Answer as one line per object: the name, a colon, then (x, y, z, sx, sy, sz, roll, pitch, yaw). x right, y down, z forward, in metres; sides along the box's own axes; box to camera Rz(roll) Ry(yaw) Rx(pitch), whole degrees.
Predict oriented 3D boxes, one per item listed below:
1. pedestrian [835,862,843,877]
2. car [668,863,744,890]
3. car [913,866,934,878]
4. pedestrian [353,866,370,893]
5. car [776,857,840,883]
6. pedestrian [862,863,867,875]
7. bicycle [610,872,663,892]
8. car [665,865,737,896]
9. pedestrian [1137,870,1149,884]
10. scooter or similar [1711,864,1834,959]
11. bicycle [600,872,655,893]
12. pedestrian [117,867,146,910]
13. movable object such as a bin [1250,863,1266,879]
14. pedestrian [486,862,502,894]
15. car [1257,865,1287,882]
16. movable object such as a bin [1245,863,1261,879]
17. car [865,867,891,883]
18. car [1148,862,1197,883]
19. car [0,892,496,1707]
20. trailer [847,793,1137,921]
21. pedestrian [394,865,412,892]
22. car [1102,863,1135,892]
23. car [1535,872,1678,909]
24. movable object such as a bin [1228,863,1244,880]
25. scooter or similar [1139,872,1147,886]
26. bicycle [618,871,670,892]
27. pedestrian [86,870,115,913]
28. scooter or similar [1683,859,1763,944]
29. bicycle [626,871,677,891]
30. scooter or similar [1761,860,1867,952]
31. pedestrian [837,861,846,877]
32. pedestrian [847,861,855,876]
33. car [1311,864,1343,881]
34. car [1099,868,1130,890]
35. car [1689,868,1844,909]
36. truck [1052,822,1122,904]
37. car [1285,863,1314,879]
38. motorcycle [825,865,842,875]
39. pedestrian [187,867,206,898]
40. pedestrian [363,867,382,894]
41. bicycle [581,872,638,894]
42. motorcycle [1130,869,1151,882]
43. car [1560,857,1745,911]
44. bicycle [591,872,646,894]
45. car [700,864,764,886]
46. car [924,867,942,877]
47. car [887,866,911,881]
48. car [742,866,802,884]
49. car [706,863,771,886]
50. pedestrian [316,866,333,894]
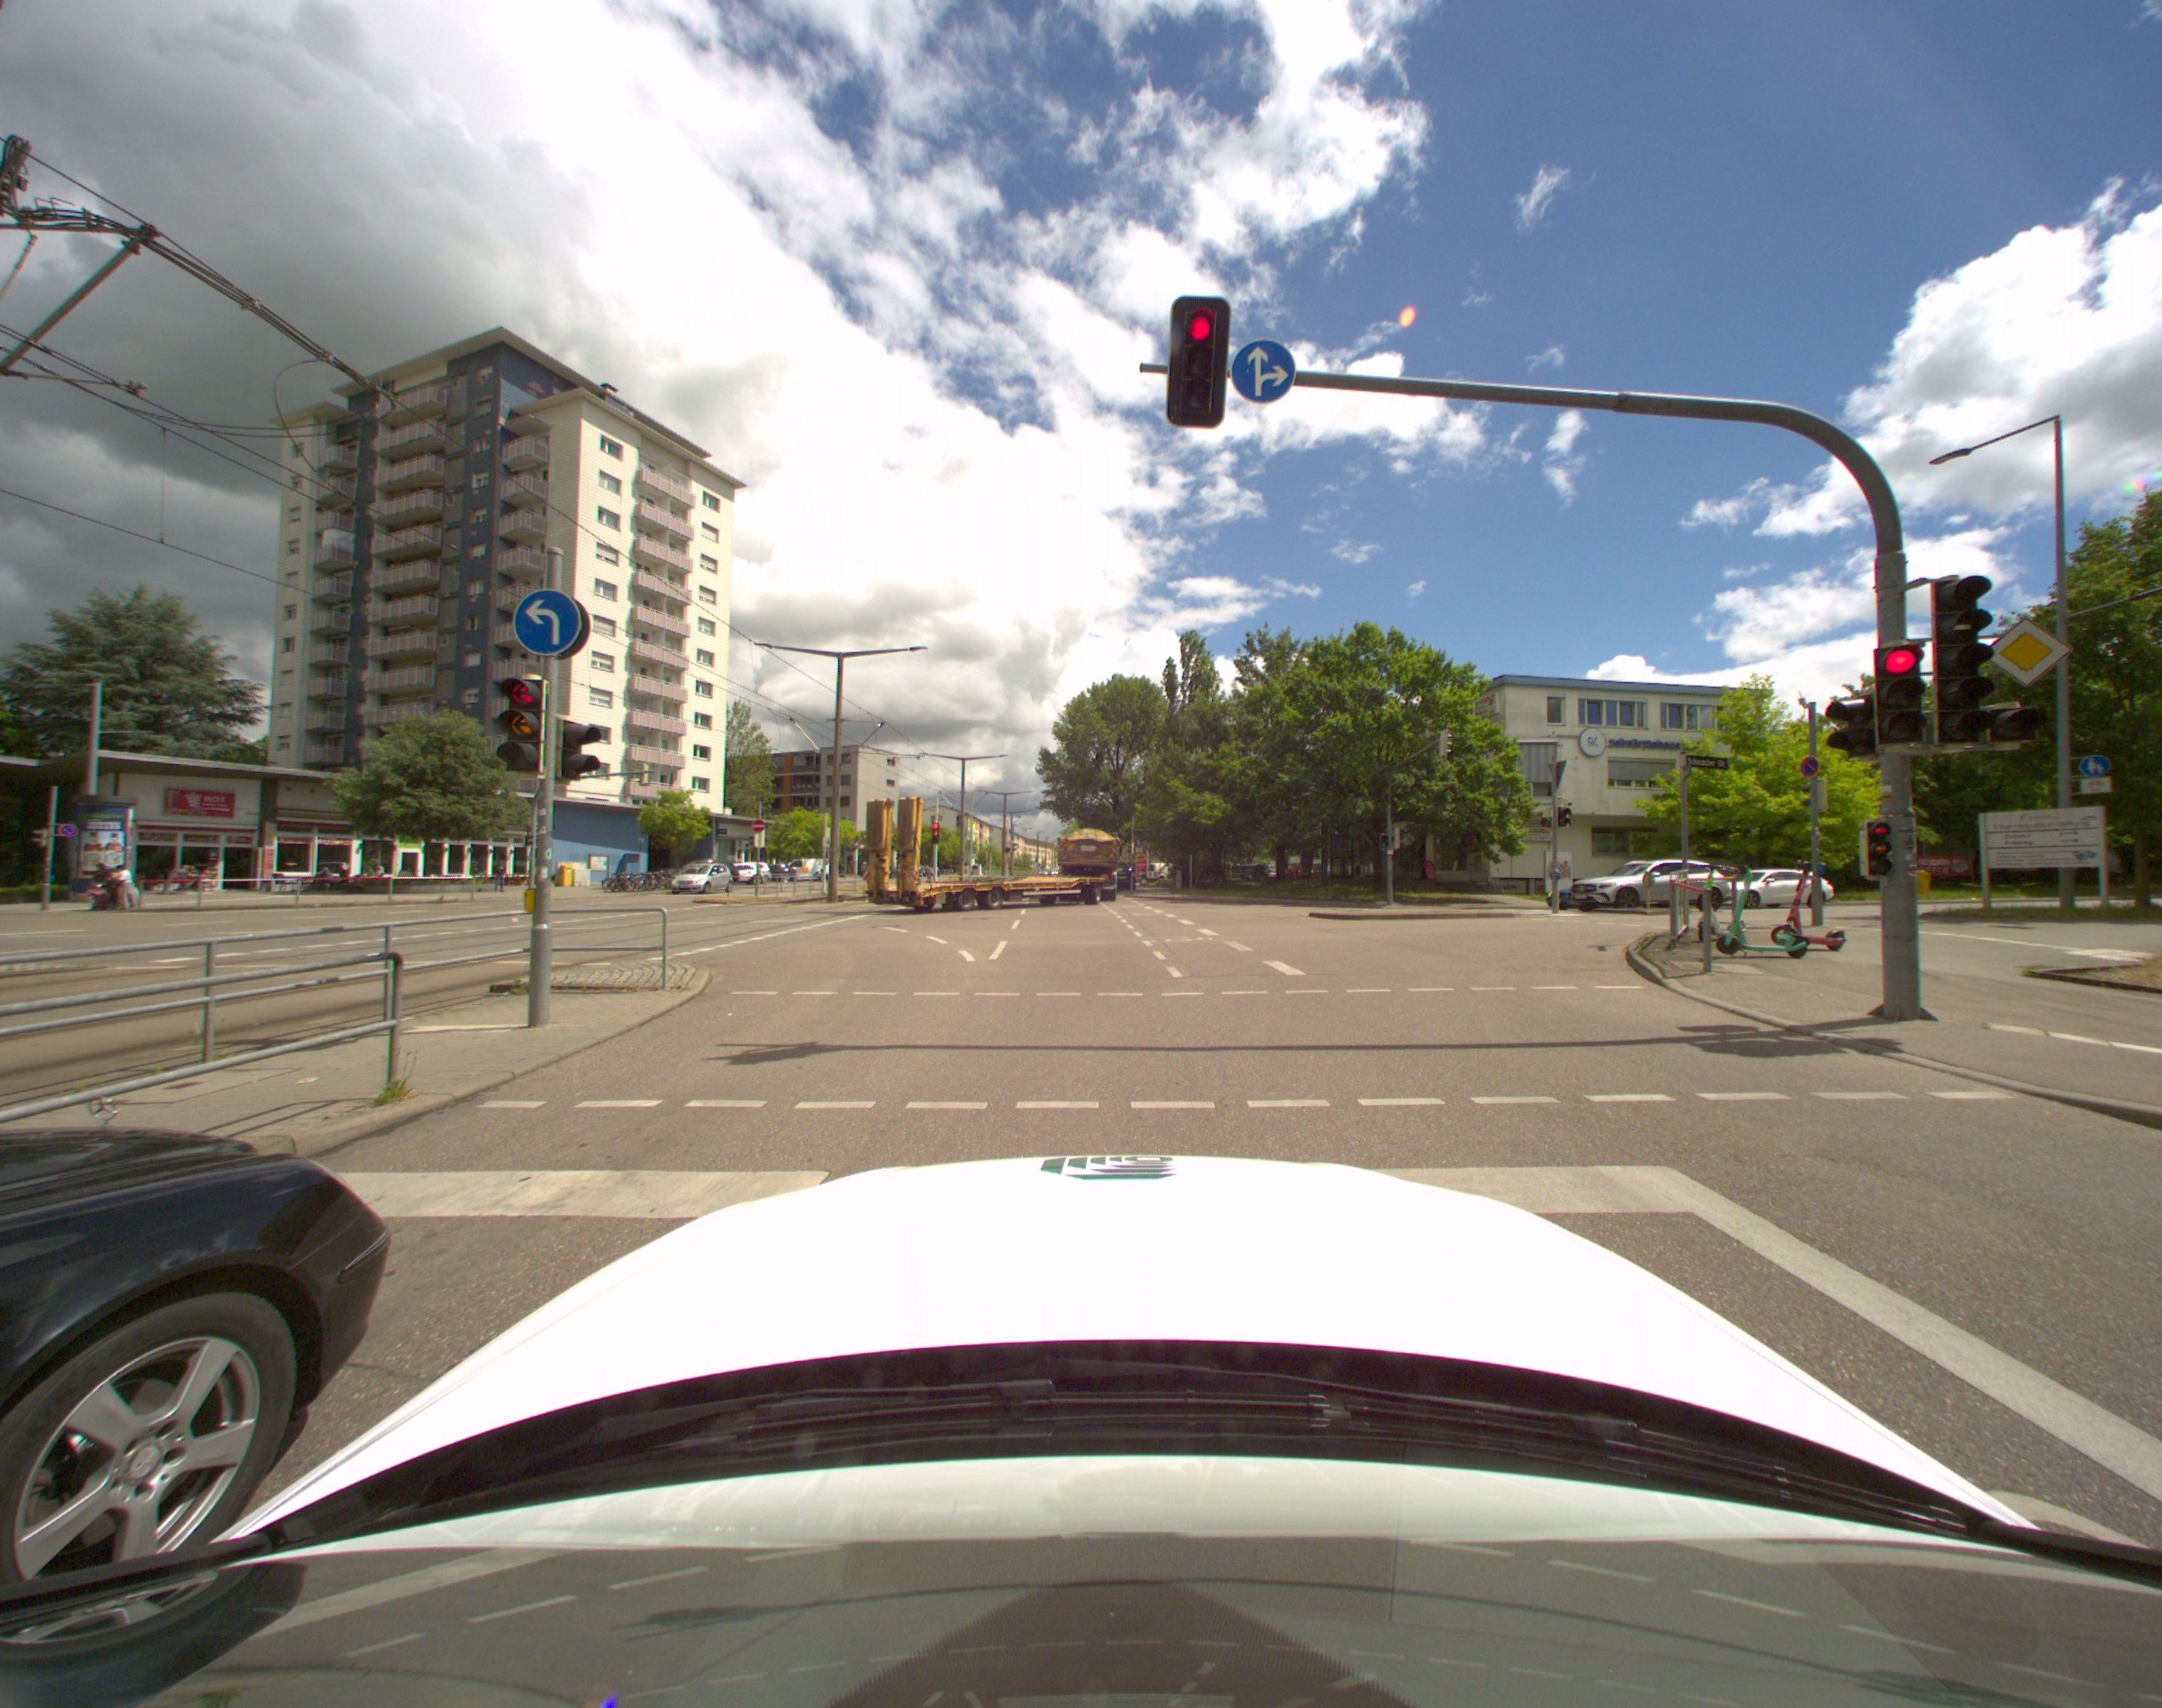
pedestrian: (-25.734, 1.597, 86.576, 0.667, 1.574, 0.682, 0, -1, -28)
car: (-24.016, 1.410, 52.217, 1.908, 1.591, 4.024, -1, -1, 43)
car: (-21.419, 2.424, 110.815, 1.986, 1.648, 4.102, 0, -1, 2)
pedestrian: (-39.807, 1.402, 45.052, 0.565, 1.472, 0.529, -1, -1, 29)
car: (-22.959, 1.320, 68.596, 4.788, 2.157, 1.883, 0, -1, -42)
pedestrian: (-26.010, 1.770, 97.820, 0.500, 1.460, 0.555, 0, -1, -28)
bicycle: (-23.508, 1.479, 43.103, 2.419, 1.066, 0.705, 0, -1, 0)
car: (-19.749, 1.341, 42.502, 1.810, 1.533, 3.758, 0, -1, 4)
pedestrian: (4.737, 1.750, 62.161, 0.775, 1.055, 0.546, 0, -1, -7)
scooter or similar: (8.887, 0.726, 10.492, 1.162, 1.195, 0.449, 0, -1, 5)
bicycle: (-23.506, 1.472, 42.222, 2.419, 1.066, 0.705, 0, -1, 0)
pedestrian: (-33.284, 1.201, 28.549, 0.512, 1.472, 0.529, -1, -1, 26)
movable object such as a bin: (16.011, 1.550, 73.703, 1.113, 1.430, 1.284, 0, -1, -4)
pedestrian: (-29.977, 1.212, 41.580, 0.415, 1.643, 0.600, 0, -1, -2)
car: (17.833, 1.778, 76.277, 1.933, 1.490, 4.001, 0, 0, 1)
movable object such as a bin: (15.905, 1.555, 75.295, 1.113, 1.430, 1.284, 0, -1, -4)
car: (-21.988, 2.279, 88.305, 1.989, 1.663, 4.095, 1, 0, -3)
car: (8.169, 1.602, 72.733, 4.005, 1.823, 1.796, 0, -1, -24)
car: (-2.856, 0.802, 0.143, 1.963, 1.398, 4.678, 0, 0, 3)
trailer: (-2.580, 0.108, 29.401, 3.021, 3.773, 11.685, -1, -1, 39)
pedestrian: (-37.955, 1.371, 45.607, 0.522, 1.472, 0.573, 0, -1, 3)
car: (2.352, 1.452, 52.131, 1.640, 1.762, 4.564, 0, -1, -3)
car: (18.740, 1.314, 29.146, 3.955, 1.225, 1.908, 0, -3, -7)
movable object such as a bin: (13.884, 1.551, 72.844, 1.113, 1.430, 1.284, 0, -1, -4)
scooter or similar: (4.748, 1.878, 62.170, 0.476, 1.055, 0.895, 0, -1, -7)
bicycle: (-23.515, 1.485, 43.862, 2.419, 1.066, 0.705, 0, -1, 0)
pedestrian: (-34.086, 1.297, 28.313, 0.565, 1.472, 0.529, -1, -1, 26)
scooter or similar: (9.723, 0.694, 12.329, 1.213, 1.235, 0.475, 0, -1, -27)
bicycle: (-23.535, 1.491, 44.615, 2.419, 1.066, 0.705, 0, -1, 0)
scooter or similar: (10.185, 0.703, 11.322, 1.182, 1.235, 0.478, 0, -1, -12)
pedestrian: (-24.329, 1.553, 82.786, 0.843, 1.650, 0.609, 1, -1, -18)
pedestrian: (-26.203, 1.658, 92.830, 0.609, 1.792, 0.843, 0, -1, -1)
car: (22.903, 1.695, 75.951, 1.738, 1.470, 3.997, 0, 0, -1)
car: (2.283, 1.715, 56.625, 1.641, 1.458, 4.069, 0, 0, -4)
car: (25.213, 1.271, 30.019, 4.387, 1.415, 1.945, 0, -3, -9)
truck: (0.368, 0.392, 37.449, 2.823, 3.330, 7.987, 0, -1, 2)
car: (20.532, 1.560, 76.770, 1.737, 1.443, 4.001, 0, 0, 1)
motorcycle: (-31.081, 1.975, 102.239, 1.888, 1.178, 0.740, 0, -1, -4)
pedestrian: (-42.974, 1.381, 39.579, 0.565, 1.472, 0.529, -1, -1, 32)
pedestrian: (-38.573, 1.453, 44.338, 0.522, 1.472, 0.573, 0, -1, 3)
bicycle: (-23.523, 1.459, 40.639, 2.419, 1.066, 0.705, 0, -1, 0)
motorcycle: (5.586, 2.024, 76.562, 1.803, 1.210, 0.706, 0, -1, -24)
car: (17.942, 0.959, 25.691, 4.636, 1.592, 1.918, 0, -3, -7)
bicycle: (-23.508, 1.465, 41.423, 2.419, 1.066, 0.705, 0, -1, 0)
car: (-24.524, 1.456, 57.294, 3.786, 1.496, 1.727, 0, -1, -40)
car: (-21.355, 2.596, 117.451, 1.605, 1.426, 3.428, 0, -1, 6)
car: (-21.518, 2.344, 96.448, 1.989, 1.663, 4.095, 1, 0, -3)
car: (-24.287, 1.634, 64.119, 4.022, 1.383, 1.883, 0, -1, -42)
car: (-25.127, 1.480, 59.856, 1.882, 1.632, 4.024, -1, -1, 44)
pedestrian: (-40.398, 1.393, 43.503, 0.565, 1.472, 0.529, -1, -1, 32)
